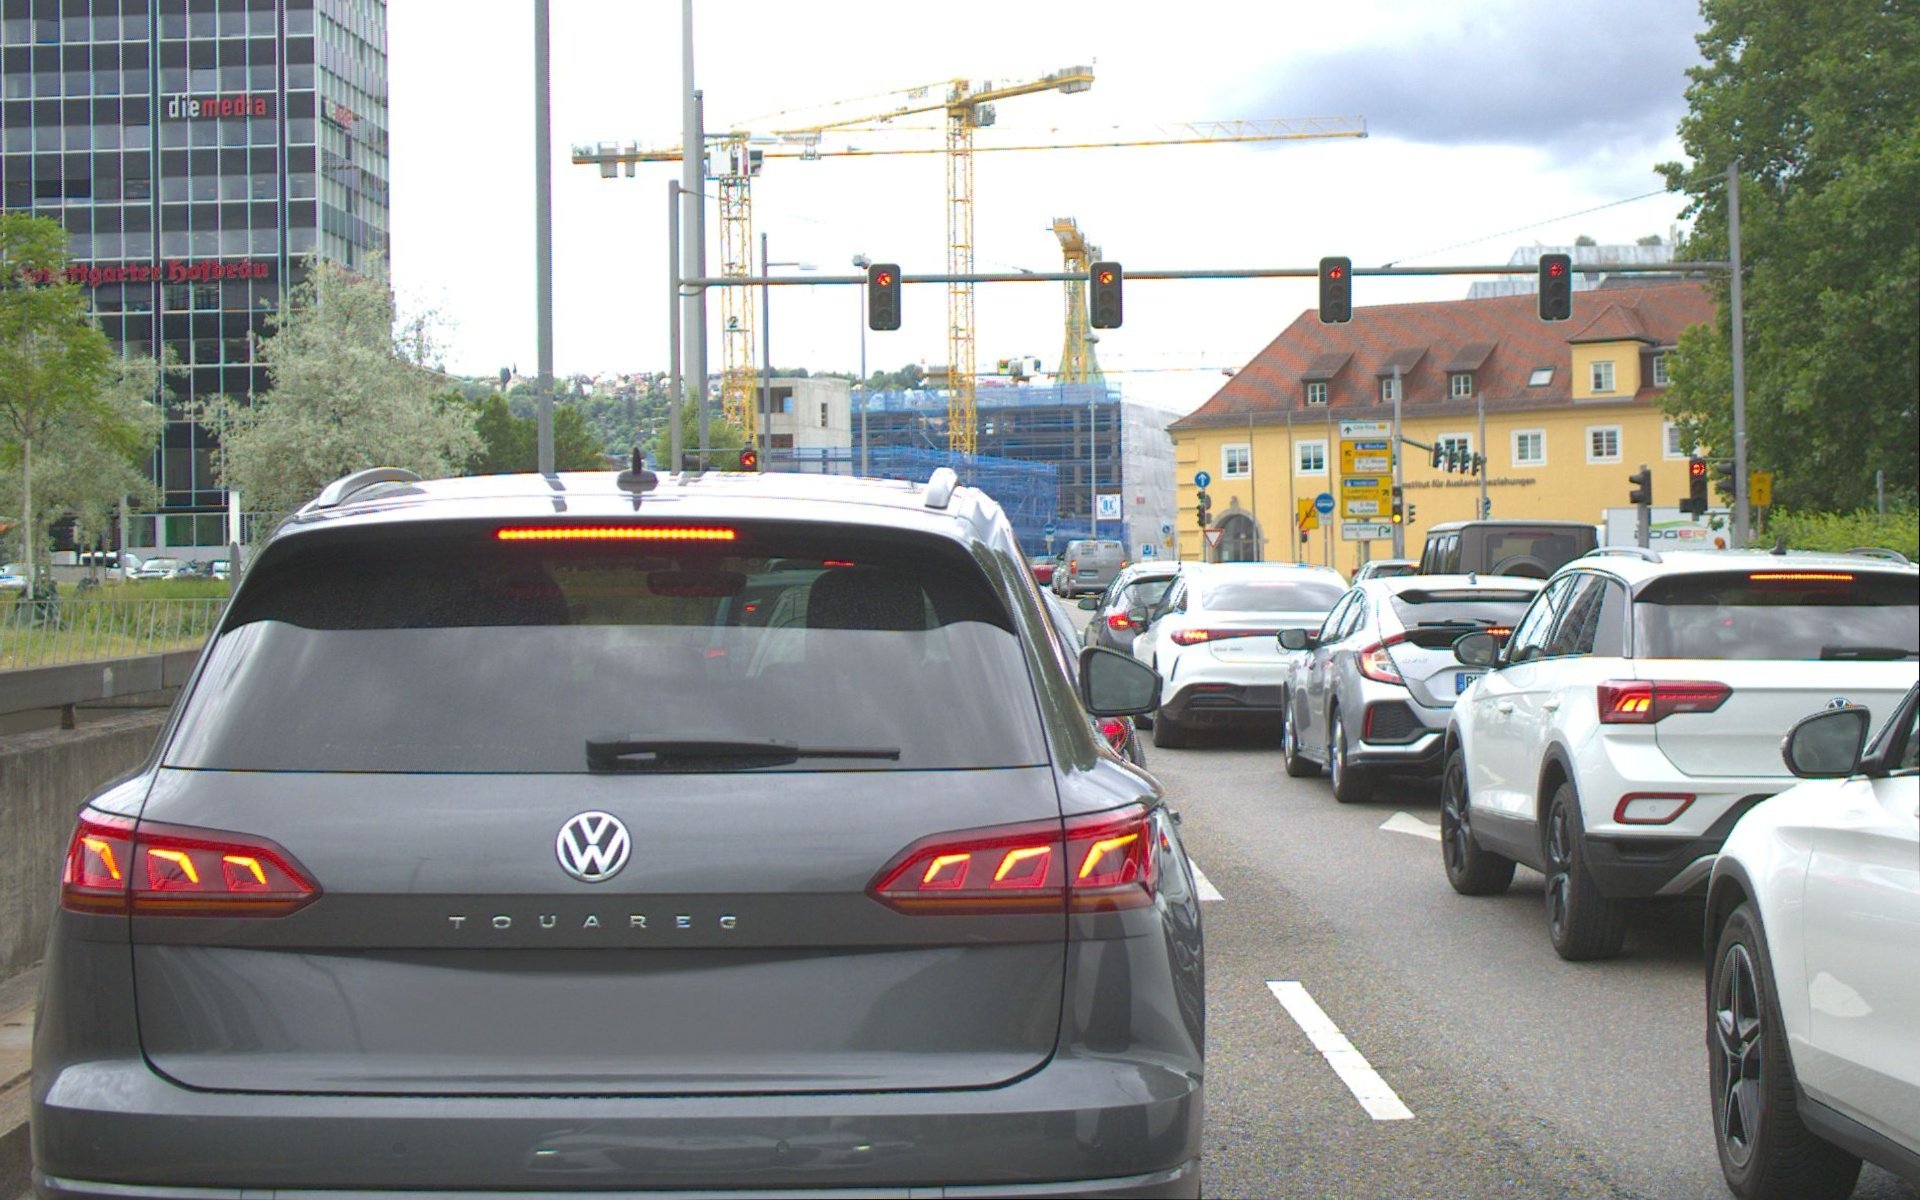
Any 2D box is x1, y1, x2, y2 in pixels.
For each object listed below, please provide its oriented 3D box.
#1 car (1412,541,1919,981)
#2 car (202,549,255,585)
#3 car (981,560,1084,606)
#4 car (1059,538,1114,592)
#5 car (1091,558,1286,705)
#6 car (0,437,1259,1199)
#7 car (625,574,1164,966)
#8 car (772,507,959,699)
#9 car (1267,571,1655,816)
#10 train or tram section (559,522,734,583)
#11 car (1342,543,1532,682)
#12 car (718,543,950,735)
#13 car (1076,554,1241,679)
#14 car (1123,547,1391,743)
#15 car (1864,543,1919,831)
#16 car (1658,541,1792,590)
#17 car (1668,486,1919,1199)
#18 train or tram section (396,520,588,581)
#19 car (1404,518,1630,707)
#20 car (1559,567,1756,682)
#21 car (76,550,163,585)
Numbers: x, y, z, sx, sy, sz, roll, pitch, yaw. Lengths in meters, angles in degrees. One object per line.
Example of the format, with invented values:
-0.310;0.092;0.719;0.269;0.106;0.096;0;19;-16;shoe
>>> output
3.130;0.564;14.377;1.926;1.545;4.489;0;0;1;car
-32.829;-1.461;154.364;1.732;1.489;3.595;1;-1;-3;car
3.308;-0.787;156.815;4.454;2.007;1.699;1;-1;34;car
4.102;-1.130;111.768;1.619;1.622;4.000;1;-1;0;car
2.469;0.322;38.010;1.926;1.524;4.047;0;0;1;car
-0.572;0.564;6.985;1.951;1.646;4.000;0;1;-1;car
-0.270;0.611;14.634;1.951;1.379;3.931;1;1;-1;car
-1.041;0.008;38.797;1.951;2.011;3.931;1;1;-1;car
3.147;0.543;22.465;1.926;1.427;4.489;0;0;1;car
-16.099;-2.444;176.325;8.935;2.999;2.592;1;-1;28;train or tram section
6.179;0.153;44.961;1.910;1.691;4.012;1;0;0;car
-1.107;0.309;31.384;1.951;1.594;3.931;1;1;-1;car
2.506;0.195;44.297;1.926;1.524;4.047;0;0;1;car
2.432;0.345;29.188;1.926;1.524;4.489;0;0;1;car
6.441;0.508;18.551;1.993;1.634;4.305;0;1;0;car
26.511;-1.201;119.203;4.108;1.605;1.826;1;-1;35;car
2.729;0.614;6.416;1.926;1.648;4.490;0;2;1;car
-24.643;-2.613;180.841;10.411;2.999;2.592;1;-1;28;train or tram section
6.317;0.126;39.419;1.910;2.007;4.012;1;0;0;car
9.291;0.307;46.053;1.757;1.442;3.634;1;0;-2;car
-40.743;-1.585;166.638;4.222;1.598;1.749;1;0;36;car
